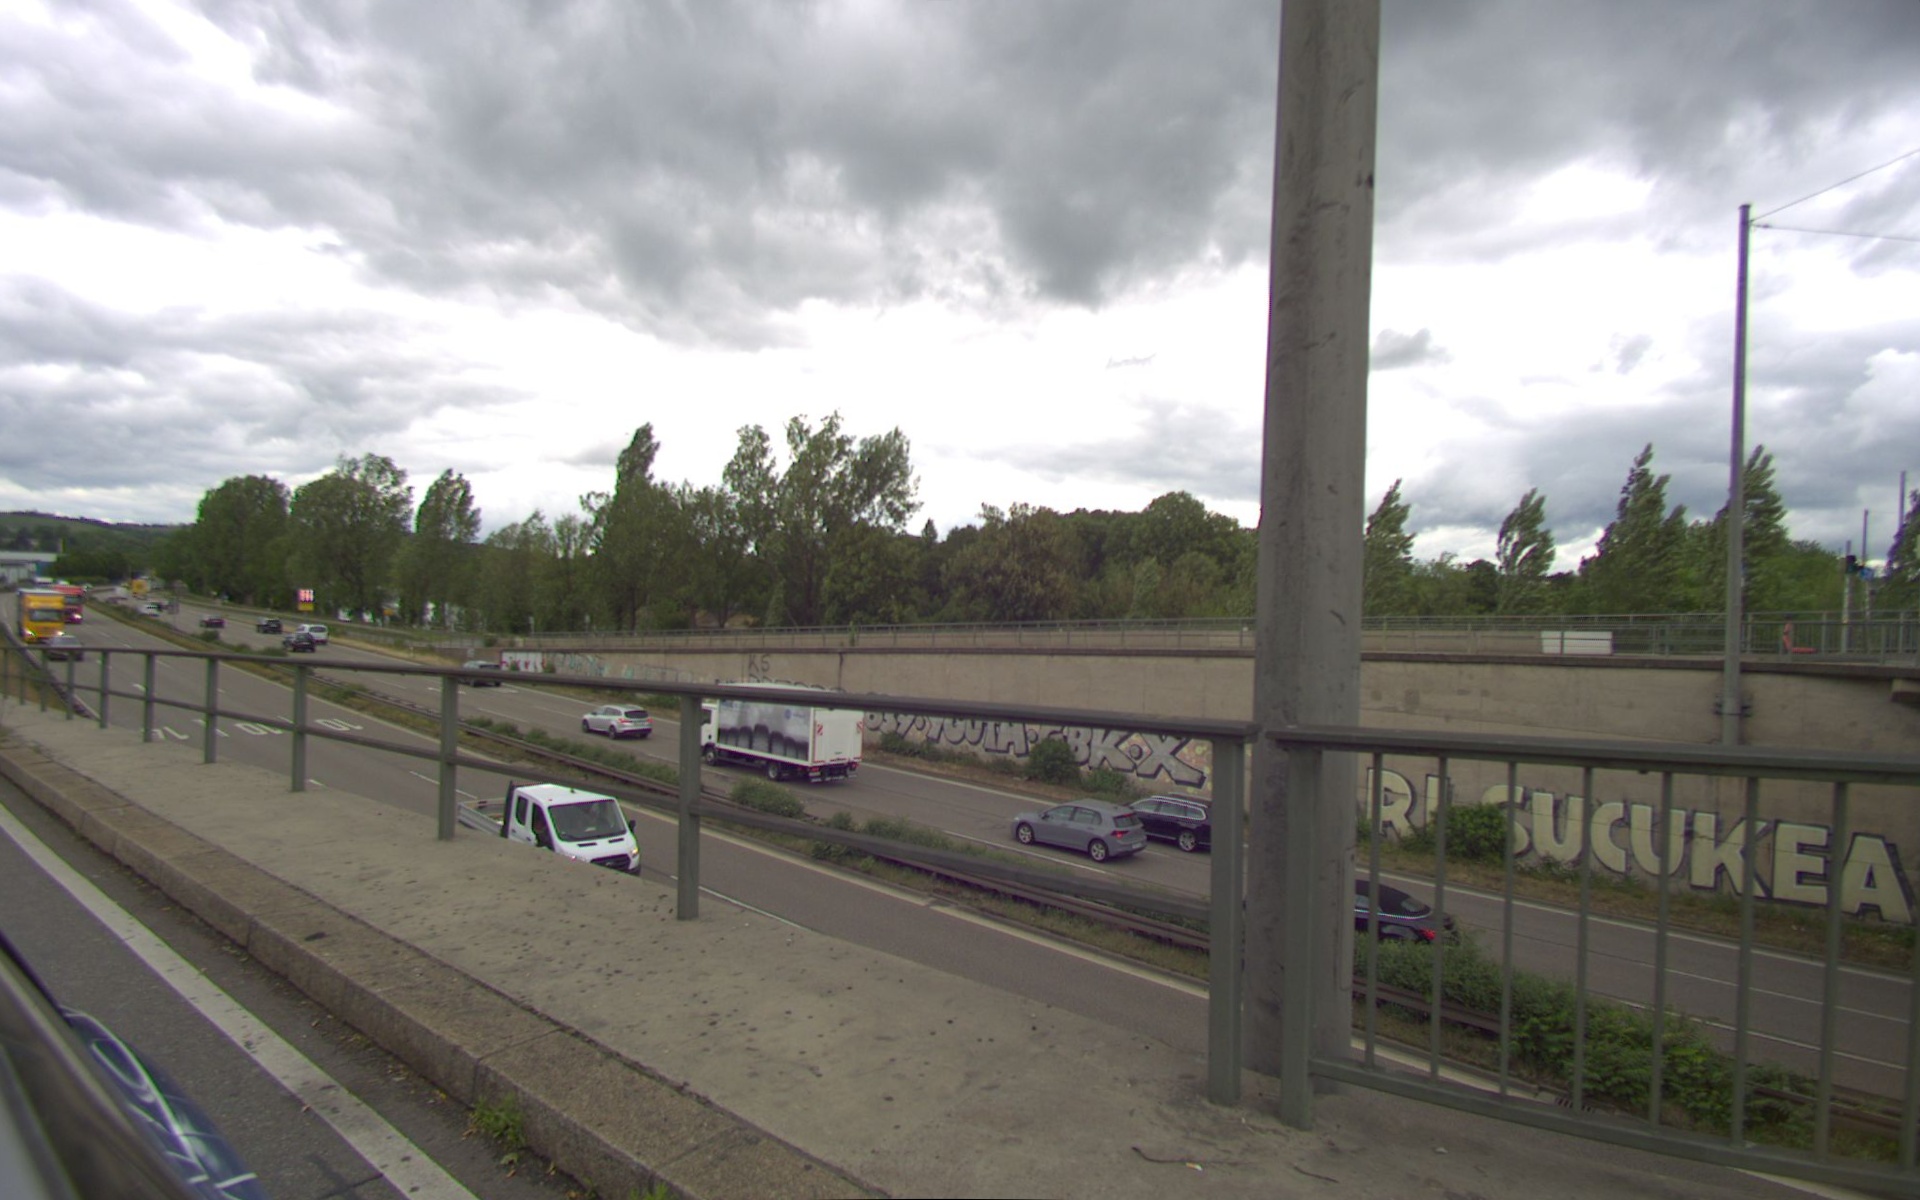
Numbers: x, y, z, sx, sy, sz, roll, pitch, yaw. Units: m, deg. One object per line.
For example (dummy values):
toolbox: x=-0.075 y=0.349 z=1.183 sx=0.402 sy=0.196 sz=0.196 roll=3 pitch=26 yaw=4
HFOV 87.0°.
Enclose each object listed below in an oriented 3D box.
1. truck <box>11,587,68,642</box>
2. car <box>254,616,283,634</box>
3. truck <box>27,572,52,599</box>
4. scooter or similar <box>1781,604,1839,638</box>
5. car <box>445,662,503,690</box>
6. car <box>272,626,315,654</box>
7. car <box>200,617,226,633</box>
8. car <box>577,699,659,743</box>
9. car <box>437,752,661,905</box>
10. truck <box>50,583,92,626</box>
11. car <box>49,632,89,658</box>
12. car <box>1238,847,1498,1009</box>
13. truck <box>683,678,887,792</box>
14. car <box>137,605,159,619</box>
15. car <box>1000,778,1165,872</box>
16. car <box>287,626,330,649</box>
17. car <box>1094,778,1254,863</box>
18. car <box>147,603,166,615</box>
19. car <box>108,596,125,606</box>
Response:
truck: x=-78.098 y=1.161 z=85.792 sx=10.030 sy=4.215 sz=2.860 roll=2 pitch=-2 yaw=45
car: x=-76.184 y=2.759 z=111.507 sx=1.970 sy=1.782 sz=3.486 roll=4 pitch=-3 yaw=-44
truck: x=-179.736 y=-2.963 z=197.544 sx=3.328 sy=4.991 sz=13.951 roll=1 pitch=1 yaw=-44
scooter or similar: x=26.812 y=0.668 z=31.936 sx=1.332 sy=1.064 sz=0.479 roll=-1 pitch=-1 yaw=33
car: x=-32.719 y=5.085 z=68.134 sx=4.328 sy=1.630 sz=1.972 roll=1 pitch=-2 yaw=42
car: x=-58.123 y=3.475 z=88.218 sx=2.192 sy=2.028 sz=4.645 roll=3 pitch=1 yaw=-45
car: x=-86.565 y=2.945 z=117.261 sx=1.970 sy=1.730 sz=3.643 roll=4 pitch=-3 yaw=-44
car: x=-16.417 y=5.761 z=48.506 sx=4.331 sy=1.630 sz=1.971 roll=1 pitch=-2 yaw=45
car: x=-10.174 y=5.347 z=24.706 sx=6.554 sy=2.248 sz=2.321 roll=3 pitch=-1 yaw=42
truck: x=-98.786 y=0.432 z=112.338 sx=2.847 sy=4.389 sz=13.270 roll=2 pitch=0 yaw=-44
car: x=-62.718 y=3.152 z=71.208 sx=1.852 sy=1.710 sz=3.843 roll=3 pitch=-1 yaw=-44
car: x=8.788 y=6.953 z=22.081 sx=2.302 sy=1.729 sz=4.736 roll=-1 pitch=3 yaw=-44
truck: x=-7.154 y=5.181 z=40.552 sx=8.238 sy=3.482 sz=3.545 roll=2 pitch=-2 yaw=42
car: x=-110.856 y=1.619 z=138.108 sx=1.970 sy=1.730 sz=3.643 roll=4 pitch=-3 yaw=-44
car: x=3.588 y=6.589 z=30.145 sx=4.427 sy=1.730 sz=2.108 roll=3 pitch=-1 yaw=44
car: x=-62.920 y=3.622 z=97.770 sx=2.560 sy=2.029 sz=4.645 roll=3 pitch=-1 yaw=-44
car: x=6.652 y=6.816 z=31.738 sx=4.427 sy=1.577 sz=2.108 roll=3 pitch=-1 yaw=44
car: x=-124.361 y=1.356 z=156.628 sx=1.970 sy=1.730 sz=3.642 roll=4 pitch=-3 yaw=-44
car: x=-153.807 y=0.116 z=184.538 sx=3.642 sy=1.730 sz=1.971 roll=0 pitch=-3 yaw=45
